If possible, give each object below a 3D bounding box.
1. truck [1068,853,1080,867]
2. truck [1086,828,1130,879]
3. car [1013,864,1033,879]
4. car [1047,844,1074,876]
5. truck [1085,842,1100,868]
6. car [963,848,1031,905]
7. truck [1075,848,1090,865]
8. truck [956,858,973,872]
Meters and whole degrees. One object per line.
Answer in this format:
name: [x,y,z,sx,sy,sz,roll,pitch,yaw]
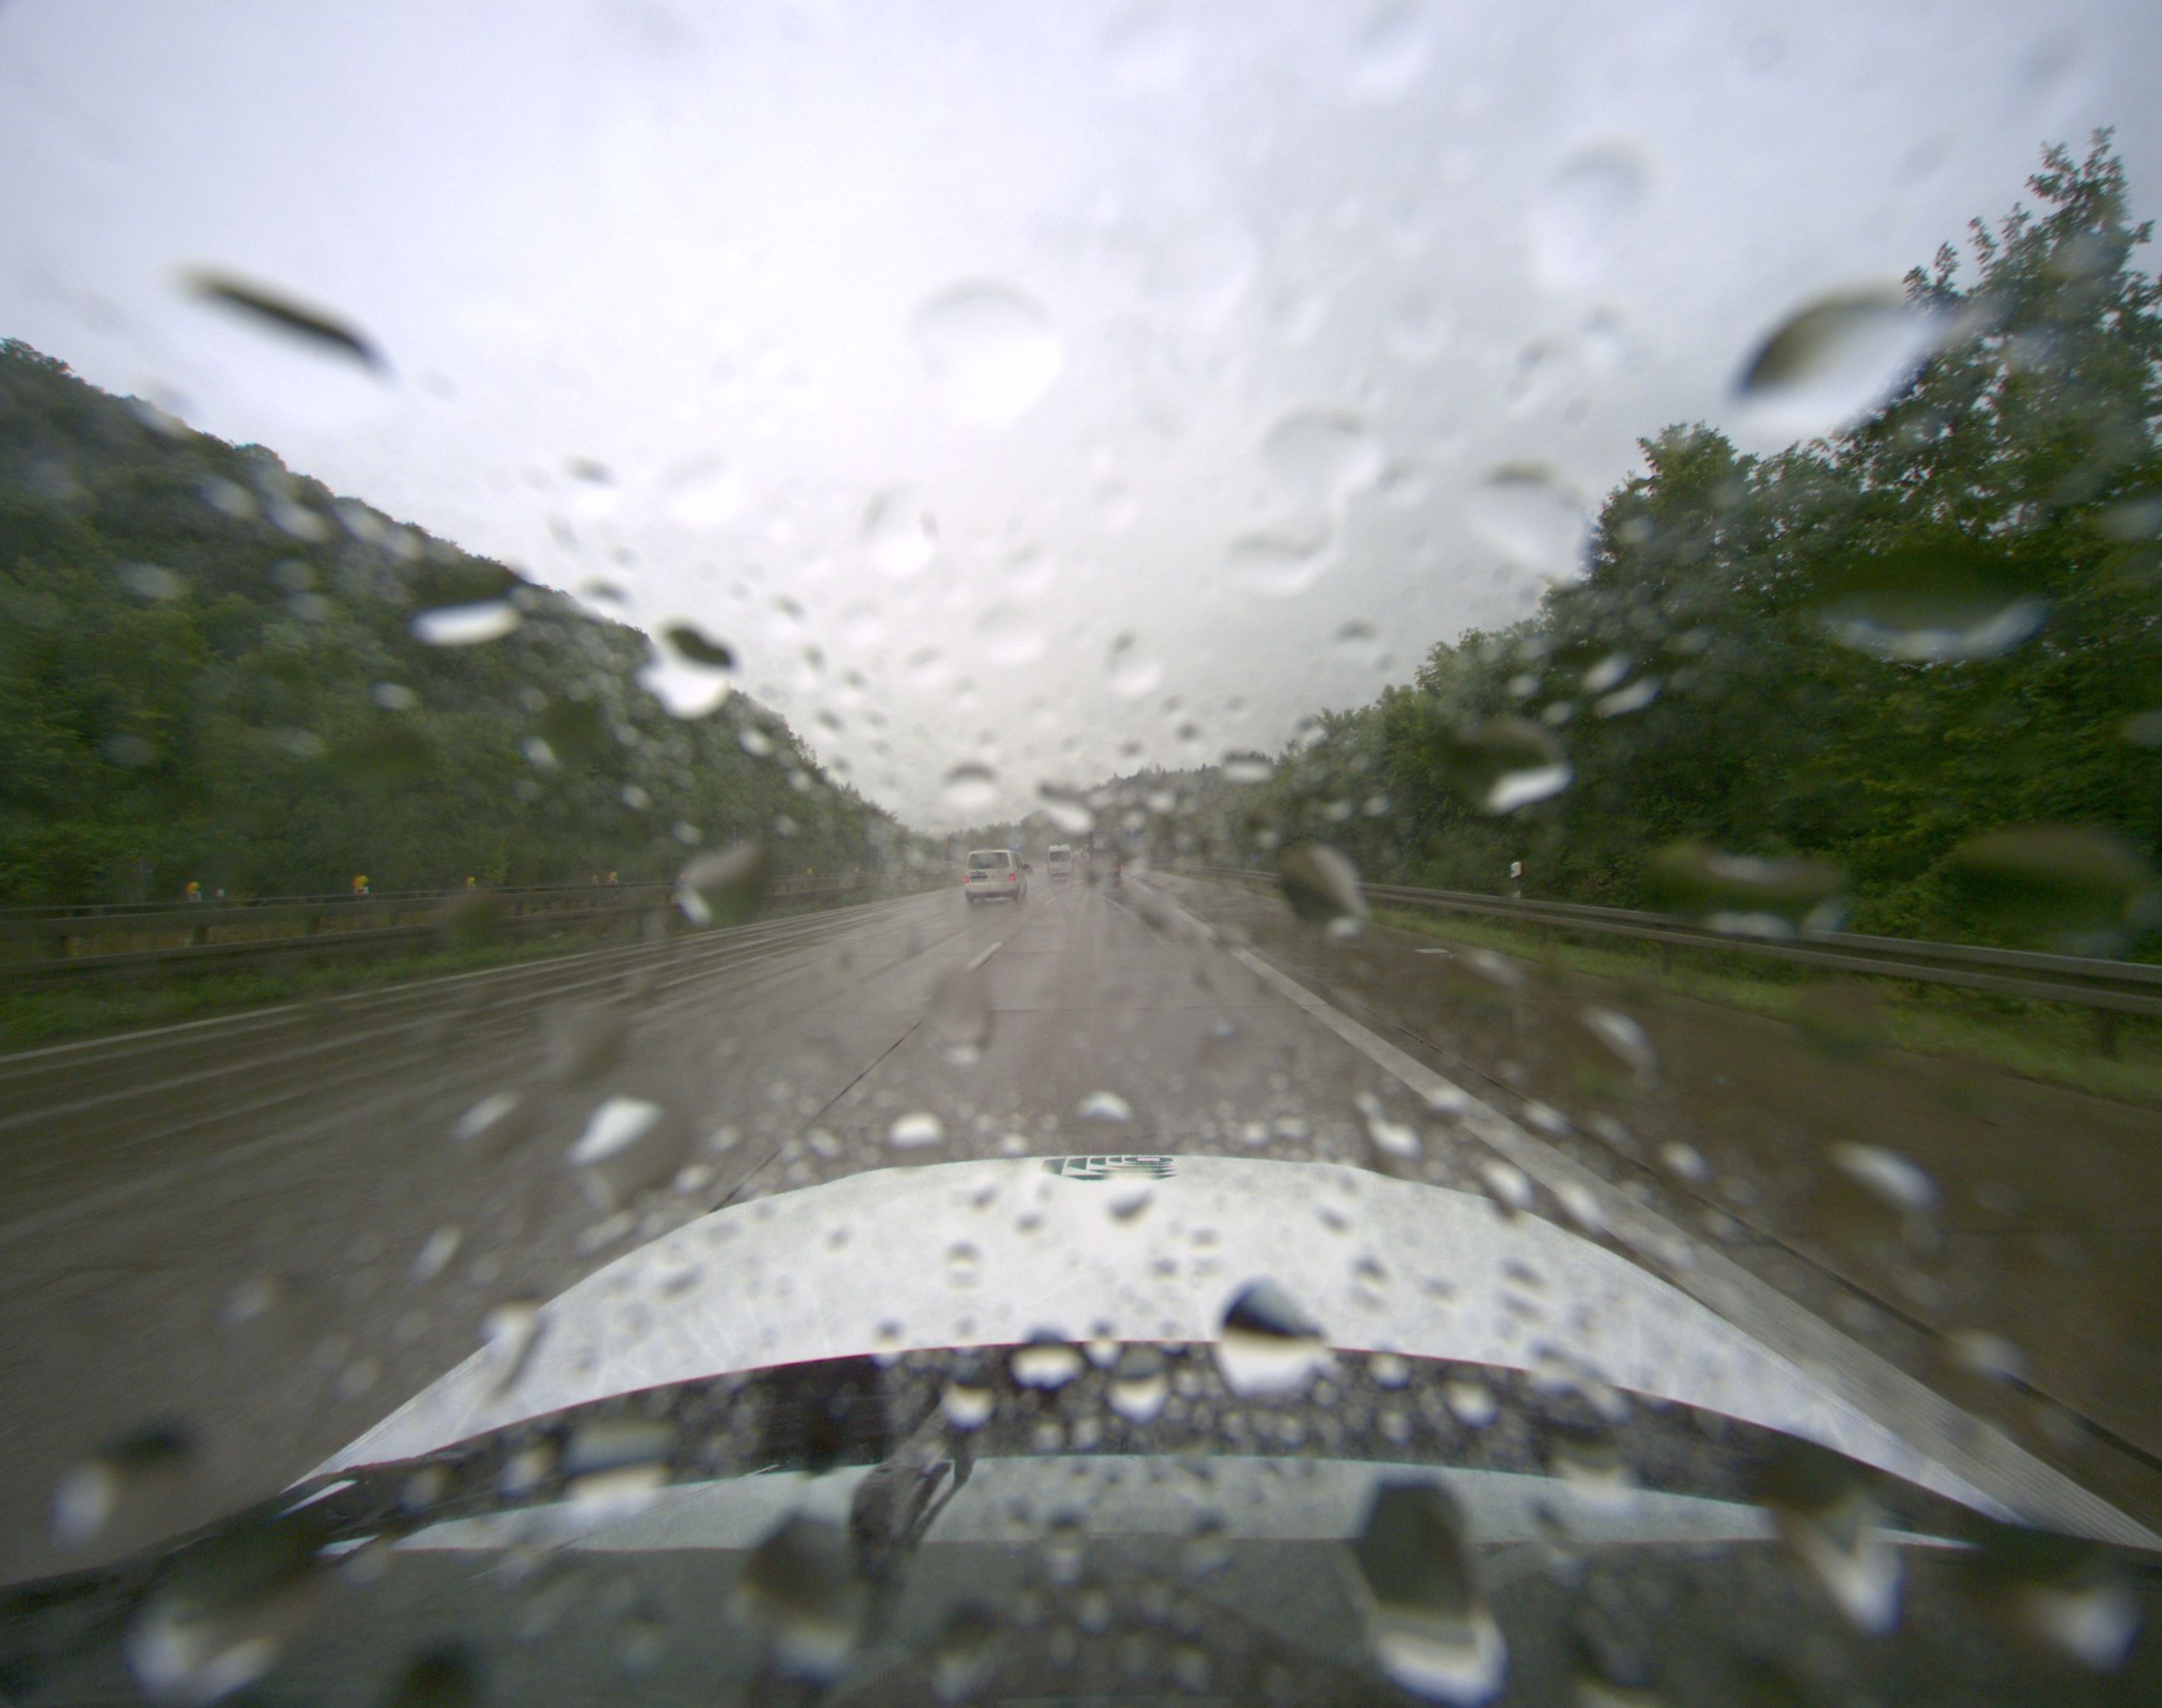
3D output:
truck: [-1.716,1.383,191.457,1.991,3.169,6.719,-3,0,-6]
truck: [2.301,-0.142,71.699,3.374,3.967,8.667,-5,1,1]
car: [-5.880,1.779,83.024,1.735,1.388,4.320,-1,-1,-1]
car: [-1.590,0.463,62.742,1.895,2.334,5.245,-2,0,-2]
truck: [1.772,0.146,123.197,1.987,3.806,6.733,-3,0,1]
car: [-3.054,0.800,30.672,1.893,1.894,5.043,-2,-1,1]
truck: [0.272,0.591,159.026,1.991,3.169,6.719,-3,0,-6]
truck: [-25.979,2.412,181.786,2.289,3.019,7.924,-1,0,1]
